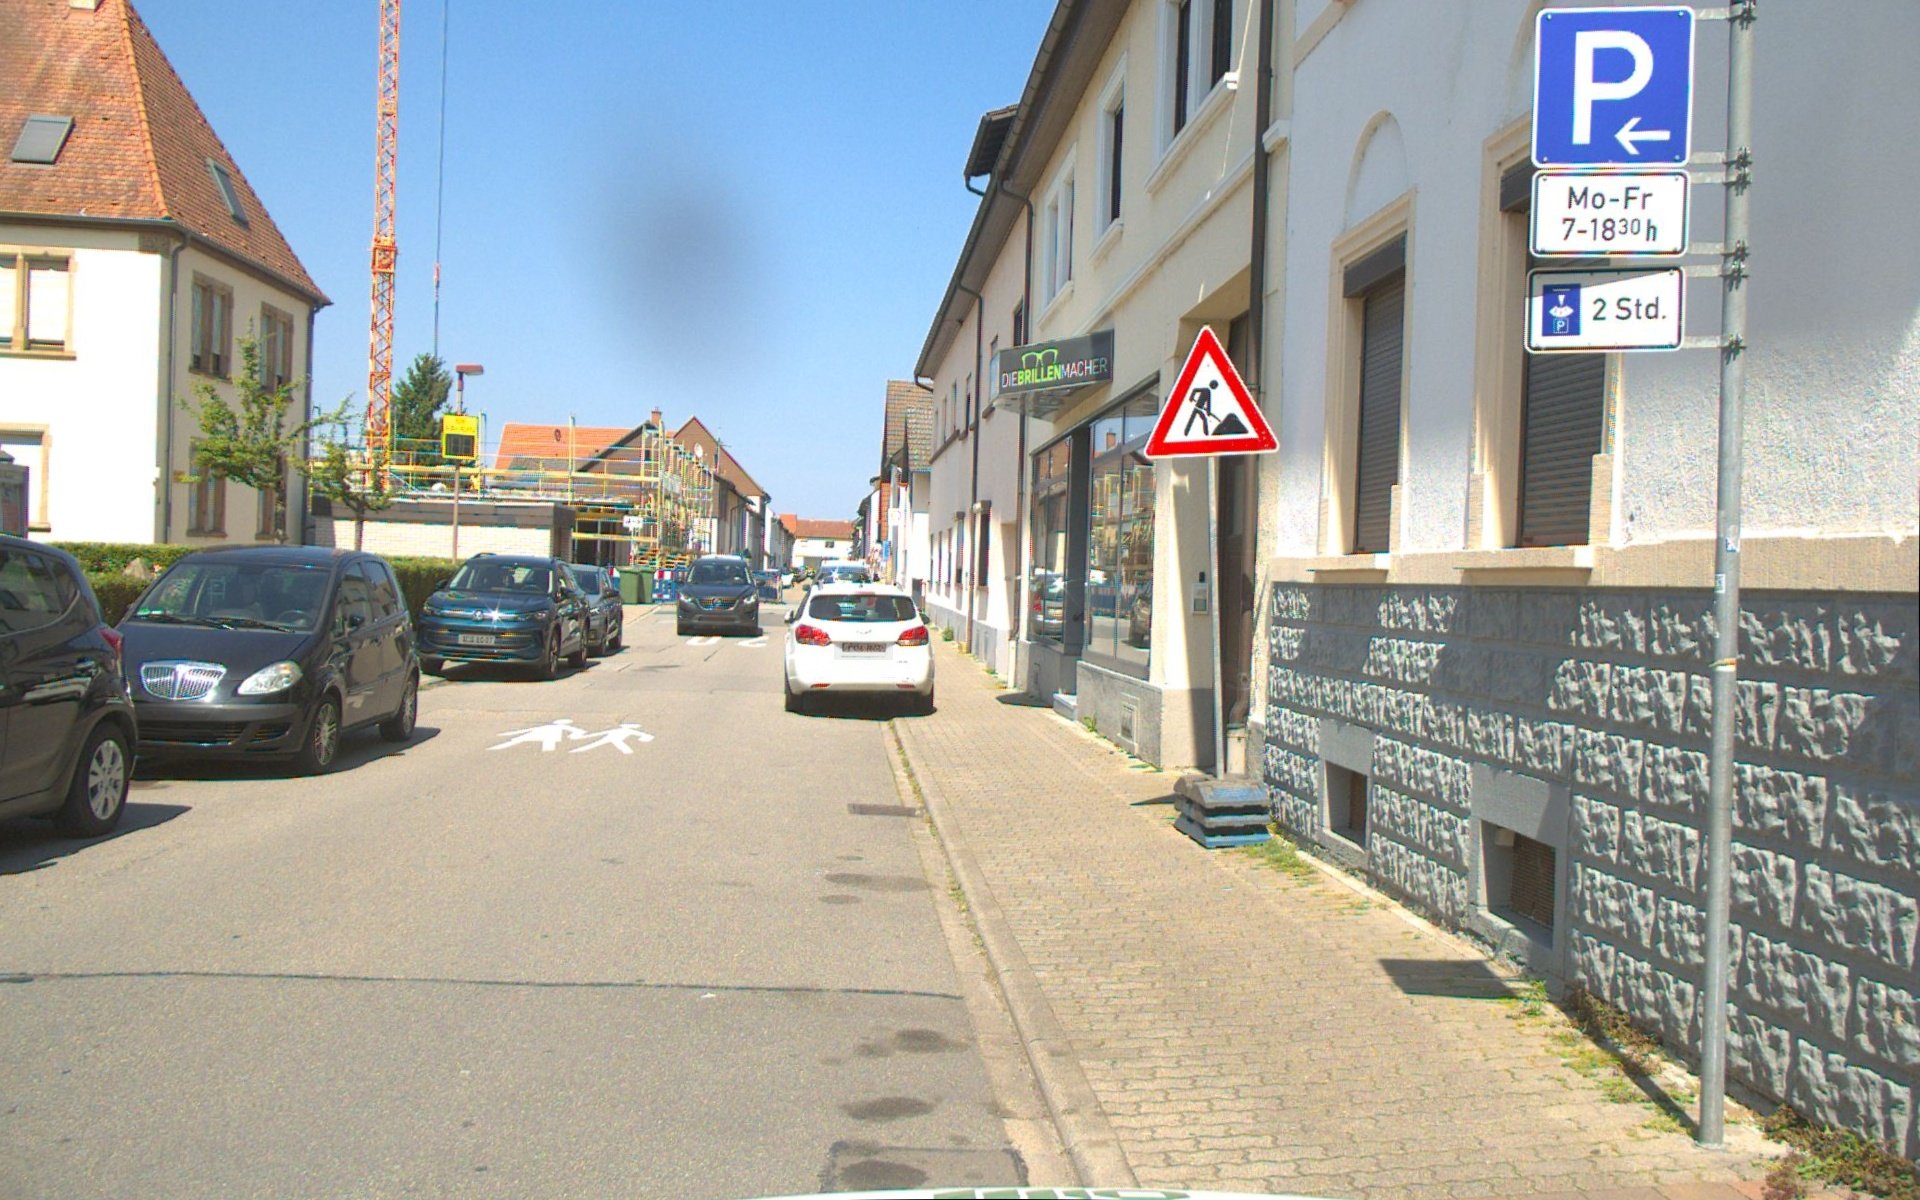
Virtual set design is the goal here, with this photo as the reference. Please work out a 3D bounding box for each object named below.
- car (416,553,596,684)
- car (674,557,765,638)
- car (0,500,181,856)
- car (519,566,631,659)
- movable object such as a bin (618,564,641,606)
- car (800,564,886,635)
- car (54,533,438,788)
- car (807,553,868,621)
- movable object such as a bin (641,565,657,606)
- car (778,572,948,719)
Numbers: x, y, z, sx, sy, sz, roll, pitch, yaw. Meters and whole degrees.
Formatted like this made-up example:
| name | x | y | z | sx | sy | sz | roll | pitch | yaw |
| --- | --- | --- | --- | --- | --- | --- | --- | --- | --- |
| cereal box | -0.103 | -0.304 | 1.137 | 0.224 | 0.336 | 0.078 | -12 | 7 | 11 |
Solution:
| name | x | y | z | sx | sy | sz | roll | pitch | yaw |
| --- | --- | --- | --- | --- | --- | --- | --- | --- | --- |
| car | -6.418 | 0.208 | 23.809 | 1.791 | 1.659 | 4.212 | 2 | 1 | -6 |
| car | -5.460 | -0.091 | 37.994 | 1.845 | 1.697 | 4.148 | 2 | 1 | -6 |
| car | -5.267 | 0.334 | 7.406 | 1.779 | 1.632 | 4.022 | 2 | 1 | -3 |
| car | -6.736 | 0.181 | 29.224 | 1.408 | 1.500 | 3.782 | 2 | 1 | -6 |
| movable object such as a bin | -9.649 | -0.439 | 48.263 | 0.611 | 1.175 | 0.675 | 2 | 1 | -12 |
| car | -2.893 | -0.064 | 40.307 | 1.849 | 1.583 | 3.889 | -2 | 2 | -7 |
| car | -5.367 | 0.366 | 12.953 | 1.606 | 1.657 | 3.765 | 2 | 1 | -5 |
| car | -3.377 | -0.402 | 45.456 | 1.533 | 1.640 | 3.540 | 2 | 3 | -5 |
| movable object such as a bin | -9.183 | -0.424 | 48.796 | 0.424 | 1.175 | 0.363 | 2 | 1 | -14 |
| car | -1.269 | 0.478 | 20.571 | 1.850 | 1.568 | 4.238 | 2 | 1 | -5 |
